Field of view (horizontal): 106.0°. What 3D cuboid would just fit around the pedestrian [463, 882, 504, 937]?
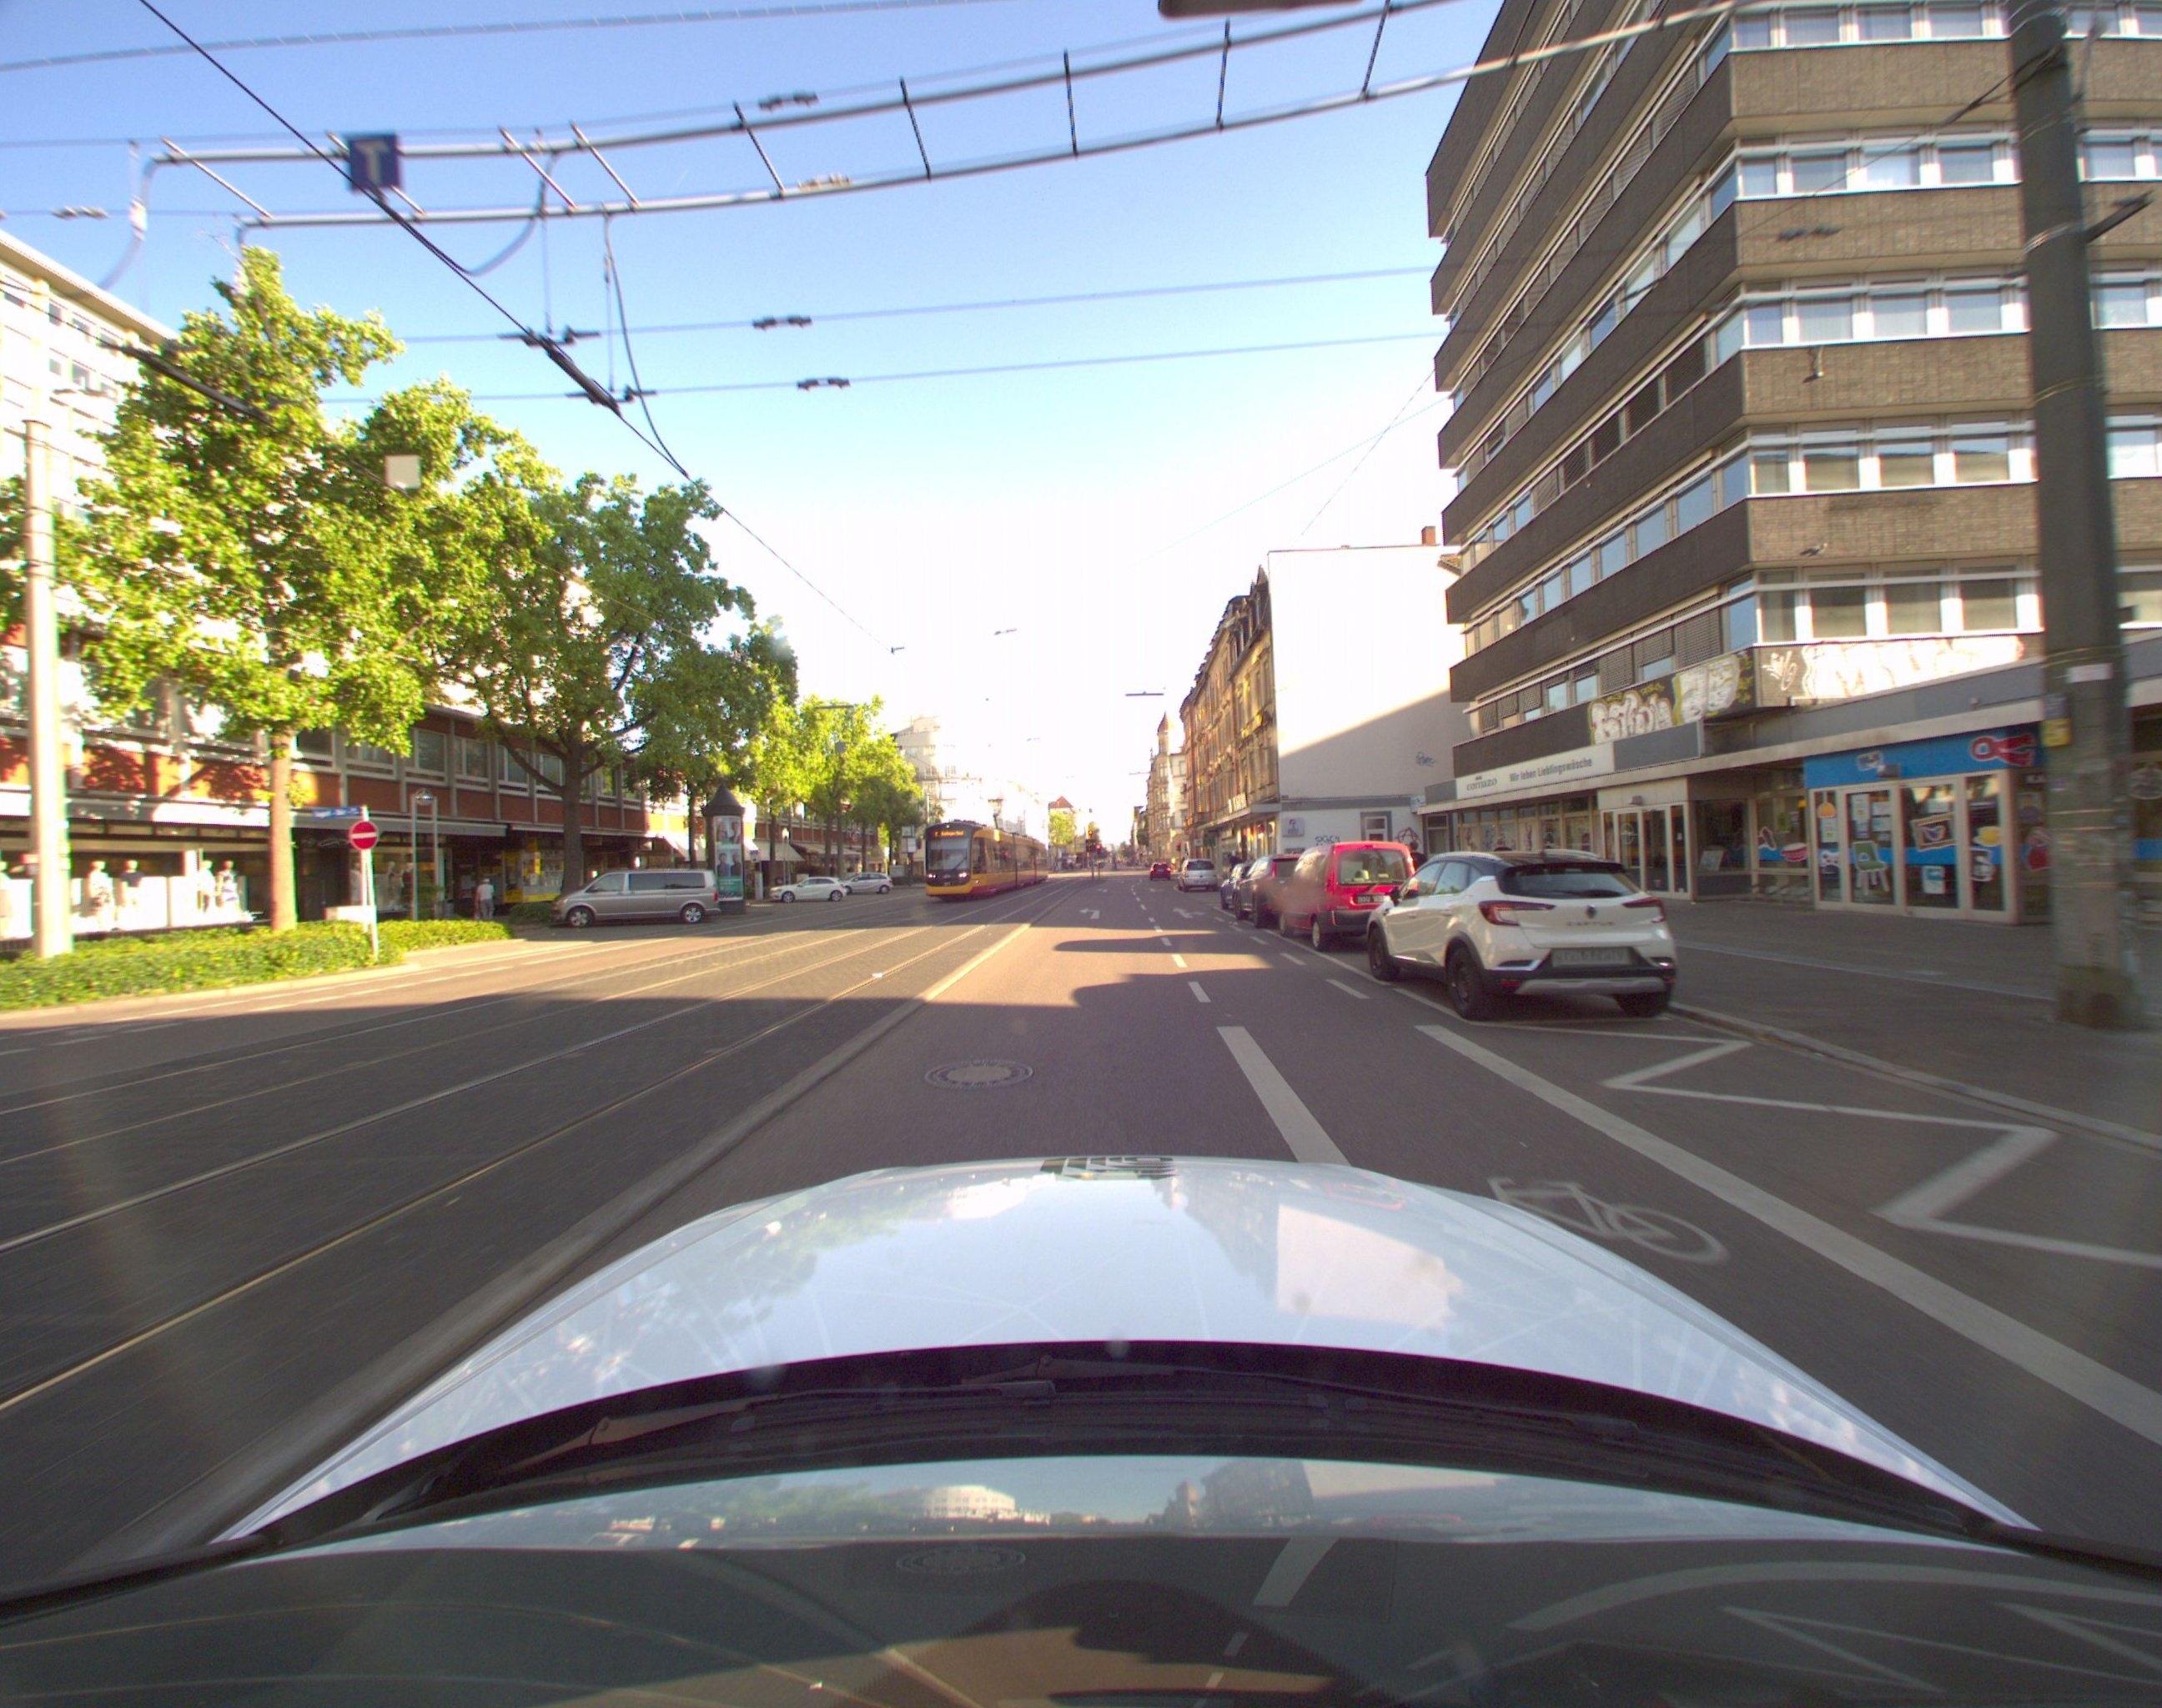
[{"bbox_3d":[-21.530,1.989,29.346,0.888,1.878,0.925,-3,0,37],"label":"pedestrian"}]

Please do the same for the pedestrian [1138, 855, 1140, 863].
[{"bbox_3d":[15.683,1.294,219.994,0.575,2.013,0.631,-3,0,3],"label":"pedestrian"}]

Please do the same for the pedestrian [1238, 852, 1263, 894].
[{"bbox_3d":[7.425,0.831,35.714,0.784,1.737,0.946,-6,-1,2],"label":"pedestrian"}]

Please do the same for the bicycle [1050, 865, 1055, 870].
[{"bbox_3d":[-6.374,2.976,181.174,0.804,1.147,2.012,-3,0,3],"label":"bicycle"}]

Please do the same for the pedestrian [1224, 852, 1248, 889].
[{"bbox_3d":[7.882,0.845,41.442,0.943,1.792,1.055,-4,0,2],"label":"pedestrian"}]

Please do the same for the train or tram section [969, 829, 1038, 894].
[{"bbox_3d":[-4.707,0.423,51.848,2.665,3.551,11.133,-3,0,2],"label":"train or tram section"}]

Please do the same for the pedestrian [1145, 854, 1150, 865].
[{"bbox_3d":[11.832,0.994,144.578,0.649,2.013,0.760,-3,0,2],"label":"pedestrian"}]

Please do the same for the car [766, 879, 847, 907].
[{"bbox_3d":[-16.066,2.252,47.725,4.280,1.429,1.750,-1,-1,-28],"label":"car"}]

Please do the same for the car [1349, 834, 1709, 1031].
[{"bbox_3d":[4.492,0.692,9.057,1.779,1.596,4.330,-2,-1,3],"label":"car"}]

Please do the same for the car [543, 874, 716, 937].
[{"bbox_3d":[-15.693,1.731,28.550,5.136,1.929,1.836,-1,-1,-30],"label":"car"}]

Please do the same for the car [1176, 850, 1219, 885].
[{"bbox_3d":[5.918,0.657,41.749,1.632,1.615,3.946,-2,0,1],"label":"car"}]

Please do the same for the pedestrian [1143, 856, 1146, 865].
[{"bbox_3d":[13.825,1.425,177.639,0.574,2.013,0.632,-3,0,9],"label":"pedestrian"}]

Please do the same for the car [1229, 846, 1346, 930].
[{"bbox_3d":[4.859,0.735,19.785,1.813,1.757,4.477,-2,0,2],"label":"car"}]

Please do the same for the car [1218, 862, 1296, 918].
[{"bbox_3d":[5.314,1.034,24.974,1.632,1.492,3.796,0,1,1],"label":"car"}]

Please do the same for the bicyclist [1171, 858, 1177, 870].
[{"bbox_3d":[10.983,1.189,95.950,0.417,1.409,0.663,-3,0,30],"label":"bicyclist"}]

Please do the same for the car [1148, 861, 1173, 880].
[{"bbox_3d":[6.641,1.323,68.241,1.748,1.466,3.946,-1,0,1],"label":"car"}]

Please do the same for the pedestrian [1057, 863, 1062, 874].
[{"bbox_3d":[-3.637,2.387,136.461,0.765,1.730,0.573,-3,0,5],"label":"pedestrian"}]

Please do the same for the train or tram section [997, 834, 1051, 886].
[{"bbox_3d":[-4.246,0.457,63.799,2.665,3.551,12.848,-3,0,2],"label":"train or tram section"}]

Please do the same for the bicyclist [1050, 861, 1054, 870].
[{"bbox_3d":[-6.406,2.557,181.031,0.804,1.821,0.994,-3,0,3],"label":"bicyclist"}]

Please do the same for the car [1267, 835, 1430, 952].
[{"bbox_3d":[4.713,0.648,14.984,1.669,1.808,4.250,-2,-1,2],"label":"car"}]

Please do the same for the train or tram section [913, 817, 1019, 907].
[{"bbox_3d":[-5.244,0.357,40.038,2.748,3.551,12.474,-3,0,2],"label":"train or tram section"}]

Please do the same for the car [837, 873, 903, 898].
[{"bbox_3d":[-15.186,2.242,58.735,4.292,1.566,1.810,-1,-1,-29],"label":"car"}]

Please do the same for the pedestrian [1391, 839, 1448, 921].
[{"bbox_3d":[7.667,0.572,18.489,0.807,1.756,1.033,-3,0,2],"label":"pedestrian"}]

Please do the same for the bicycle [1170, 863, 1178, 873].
[{"bbox_3d":[10.954,1.611,95.865,0.417,1.096,1.422,-4,-1,30],"label":"bicycle"}]

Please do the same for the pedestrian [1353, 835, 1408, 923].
[{"bbox_3d":[6.786,0.557,18.476,0.790,1.899,1.033,-3,0,2],"label":"pedestrian"}]

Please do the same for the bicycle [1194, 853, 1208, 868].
[{"bbox_3d":[10.229,0.548,69.413,0.709,1.152,1.664,-4,0,21],"label":"bicycle"}]

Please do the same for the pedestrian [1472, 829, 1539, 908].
[{"bbox_3d":[9.849,0.329,18.918,0.897,1.713,1.033,-5,0,2],"label":"pedestrian"}]
